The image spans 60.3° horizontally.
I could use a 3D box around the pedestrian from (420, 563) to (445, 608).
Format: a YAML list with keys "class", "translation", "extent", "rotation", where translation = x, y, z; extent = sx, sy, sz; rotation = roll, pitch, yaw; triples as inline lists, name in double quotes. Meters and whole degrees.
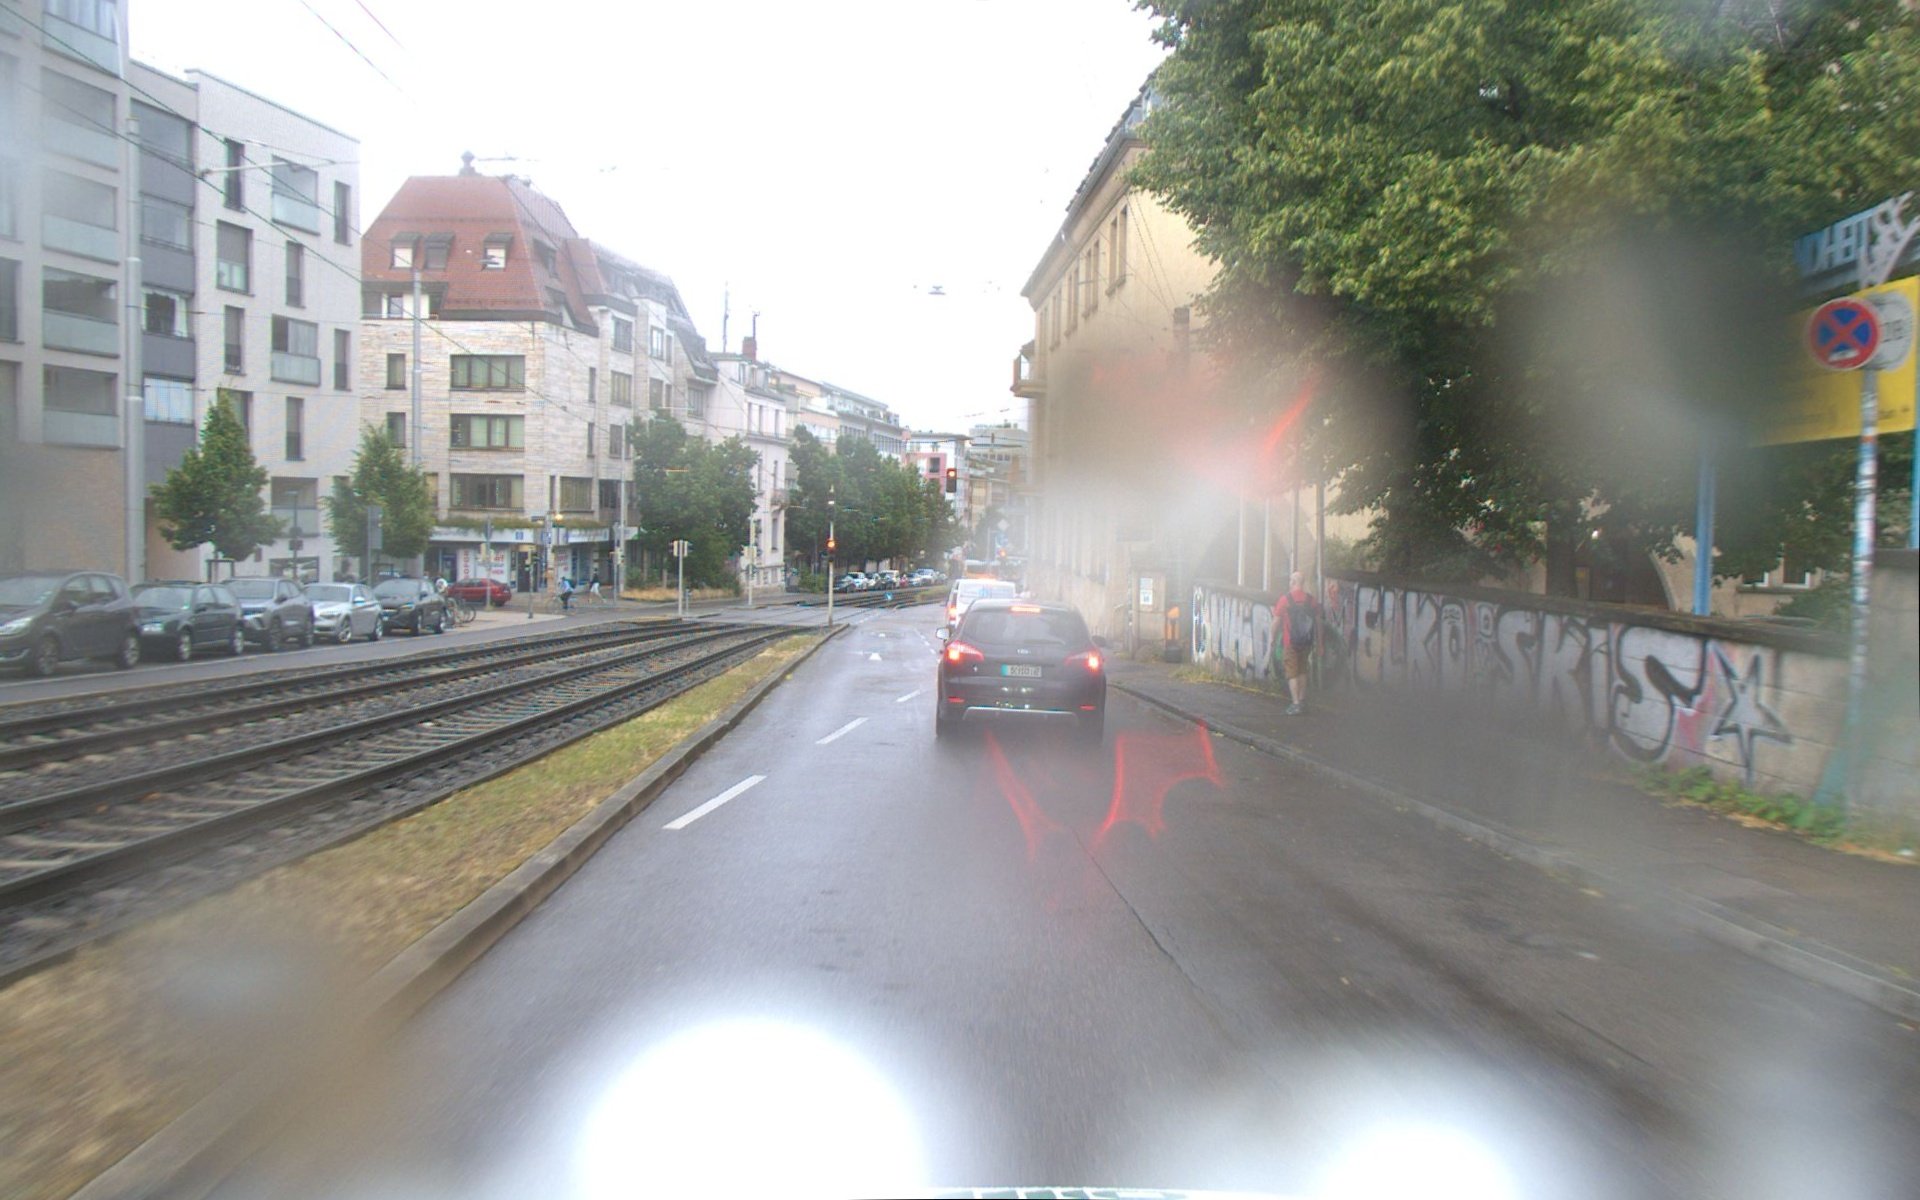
- class: "pedestrian"
  translation: [-24.085, -0.655, 75.551]
  extent: [0.923, 2.049, 0.764]
  rotation: [1, 0, -6]

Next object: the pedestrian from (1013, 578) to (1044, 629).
- class: "pedestrian"
  translation: [2.520, 0.123, 61.264]
  extent: [1.024, 1.826, 0.901]
  rotation: [1, 0, -4]

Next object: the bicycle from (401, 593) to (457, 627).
- class: "bicycle"
  translation: [-17.908, 0.330, 55.816]
  extent: [1.768, 1.082, 0.455]
  rotation: [2, 0, -17]

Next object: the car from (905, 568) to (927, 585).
- class: "car"
  translation: [-4.612, -2.480, 173.545]
  extent: [1.952, 1.691, 4.002]
  rotation: [1, 1, 2]

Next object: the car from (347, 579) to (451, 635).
- class: "car"
  translation: [-16.076, 0.189, 47.590]
  extent: [1.874, 1.530, 4.232]
  rotation: [1, 0, -6]

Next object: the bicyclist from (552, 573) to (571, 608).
- class: "bicyclist"
  translation: [-18.112, -0.426, 75.214]
  extent: [0.695, 1.601, 0.456]
  rotation: [2, 0, -40]

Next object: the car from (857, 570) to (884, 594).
- class: "car"
  translation: [-8.078, -1.636, 149.561]
  extent: [1.952, 2.049, 4.002]
  rotation: [1, 1, 2]

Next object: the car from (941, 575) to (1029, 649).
- class: "car"
  translation: [0.696, 0.253, 42.448]
  extent: [2.092, 1.776, 4.220]
  rotation: [0, 1, 3]

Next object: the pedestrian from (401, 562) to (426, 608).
- class: "pedestrian"
  translation: [-25.199, -0.692, 76.239]
  extent: [0.923, 2.049, 0.764]
  rotation: [1, 0, -6]

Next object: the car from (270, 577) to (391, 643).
- class: "car"
  translation: [-15.454, 0.233, 40.805]
  extent: [1.738, 1.530, 4.079]
  rotation: [1, 0, -5]

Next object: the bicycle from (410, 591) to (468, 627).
- class: "bicycle"
  translation: [-16.983, 0.296, 53.927]
  extent: [1.768, 1.082, 0.455]
  rotation: [2, 0, -17]

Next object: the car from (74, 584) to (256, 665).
- class: "car"
  translation: [-14.812, 0.419, 31.052]
  extent: [1.518, 1.386, 4.009]
  rotation: [2, 0, -1]

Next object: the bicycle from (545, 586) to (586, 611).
- class: "bicycle"
  translation: [-17.961, -0.052, 75.354]
  extent: [1.785, 1.082, 0.451]
  rotation: [2, 0, -40]

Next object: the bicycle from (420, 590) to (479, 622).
- class: "bicycle"
  translation: [-18.398, 0.214, 59.628]
  extent: [1.914, 1.045, 0.719]
  rotation: [2, 0, -11]

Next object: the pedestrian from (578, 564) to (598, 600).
- class: "pedestrian"
  translation: [-20.103, -0.975, 89.386]
  extent: [0.887, 1.965, 0.824]
  rotation: [1, 0, -6]

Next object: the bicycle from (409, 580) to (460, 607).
- class: "bicycle"
  translation: [-18.590, -0.222, 58.551]
  extent: [1.621, 0.881, 0.567]
  rotation: [2, 0, -13]

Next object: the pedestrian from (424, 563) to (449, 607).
- class: "pedestrian"
  translation: [-24.490, -0.706, 77.337]
  extent: [0.923, 2.049, 0.764]
  rotation: [1, 0, -6]

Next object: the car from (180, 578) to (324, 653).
- class: "car"
  translation: [-15.313, 0.308, 35.988]
  extent: [1.738, 1.530, 3.917]
  rotation: [1, 0, -6]

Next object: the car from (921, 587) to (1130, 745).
- class: "car"
  translation: [0.612, 0.658, 18.488]
  extent: [1.882, 1.505, 3.997]
  rotation: [2, 0, -4]

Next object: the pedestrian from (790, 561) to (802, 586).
- class: "pedestrian"
  translation: [-13.321, -2.144, 134.388]
  extent: [0.925, 2.049, 0.763]
  rotation: [1, 0, -12]

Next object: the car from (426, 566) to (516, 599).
- class: "car"
  translation: [-25.276, -0.903, 85.534]
  extent: [4.045, 1.596, 1.825]
  rotation: [1, 1, 7]

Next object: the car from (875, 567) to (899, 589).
- class: "car"
  translation: [-7.035, -2.154, 160.485]
  extent: [1.952, 2.049, 4.002]
  rotation: [1, 1, 2]

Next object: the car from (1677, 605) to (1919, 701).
- class: "car"
  translation: [15.659, 0.943, 30.221]
  extent: [4.356, 1.615, 1.797]
  rotation: [0, 2, 6]

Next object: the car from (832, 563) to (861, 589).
- class: "car"
  translation: [-9.385, -1.959, 136.906]
  extent: [1.952, 2.049, 4.002]
  rotation: [1, 1, 2]

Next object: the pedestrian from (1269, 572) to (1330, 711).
- class: "pedestrian"
  translation: [4.340, 0.523, 21.181]
  extent: [0.619, 1.751, 0.711]
  rotation: [1, 0, -1]

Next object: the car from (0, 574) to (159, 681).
- class: "car"
  translation: [-14.489, 0.381, 26.067]
  extent: [1.684, 1.539, 4.317]
  rotation: [1, 0, -1]

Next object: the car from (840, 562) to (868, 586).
- class: "car"
  translation: [-9.201, -2.223, 143.210]
  extent: [1.952, 2.049, 4.002]
  rotation: [1, 1, 2]

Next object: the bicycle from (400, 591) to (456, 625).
- class: "bicycle"
  translation: [-18.212, 0.272, 56.641]
  extent: [1.771, 1.127, 0.452]
  rotation: [2, 0, -22]

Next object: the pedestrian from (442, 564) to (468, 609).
- class: "pedestrian"
  translation: [-23.103, -0.626, 75.640]
  extent: [0.923, 2.049, 0.764]
  rotation: [1, 0, -2]
